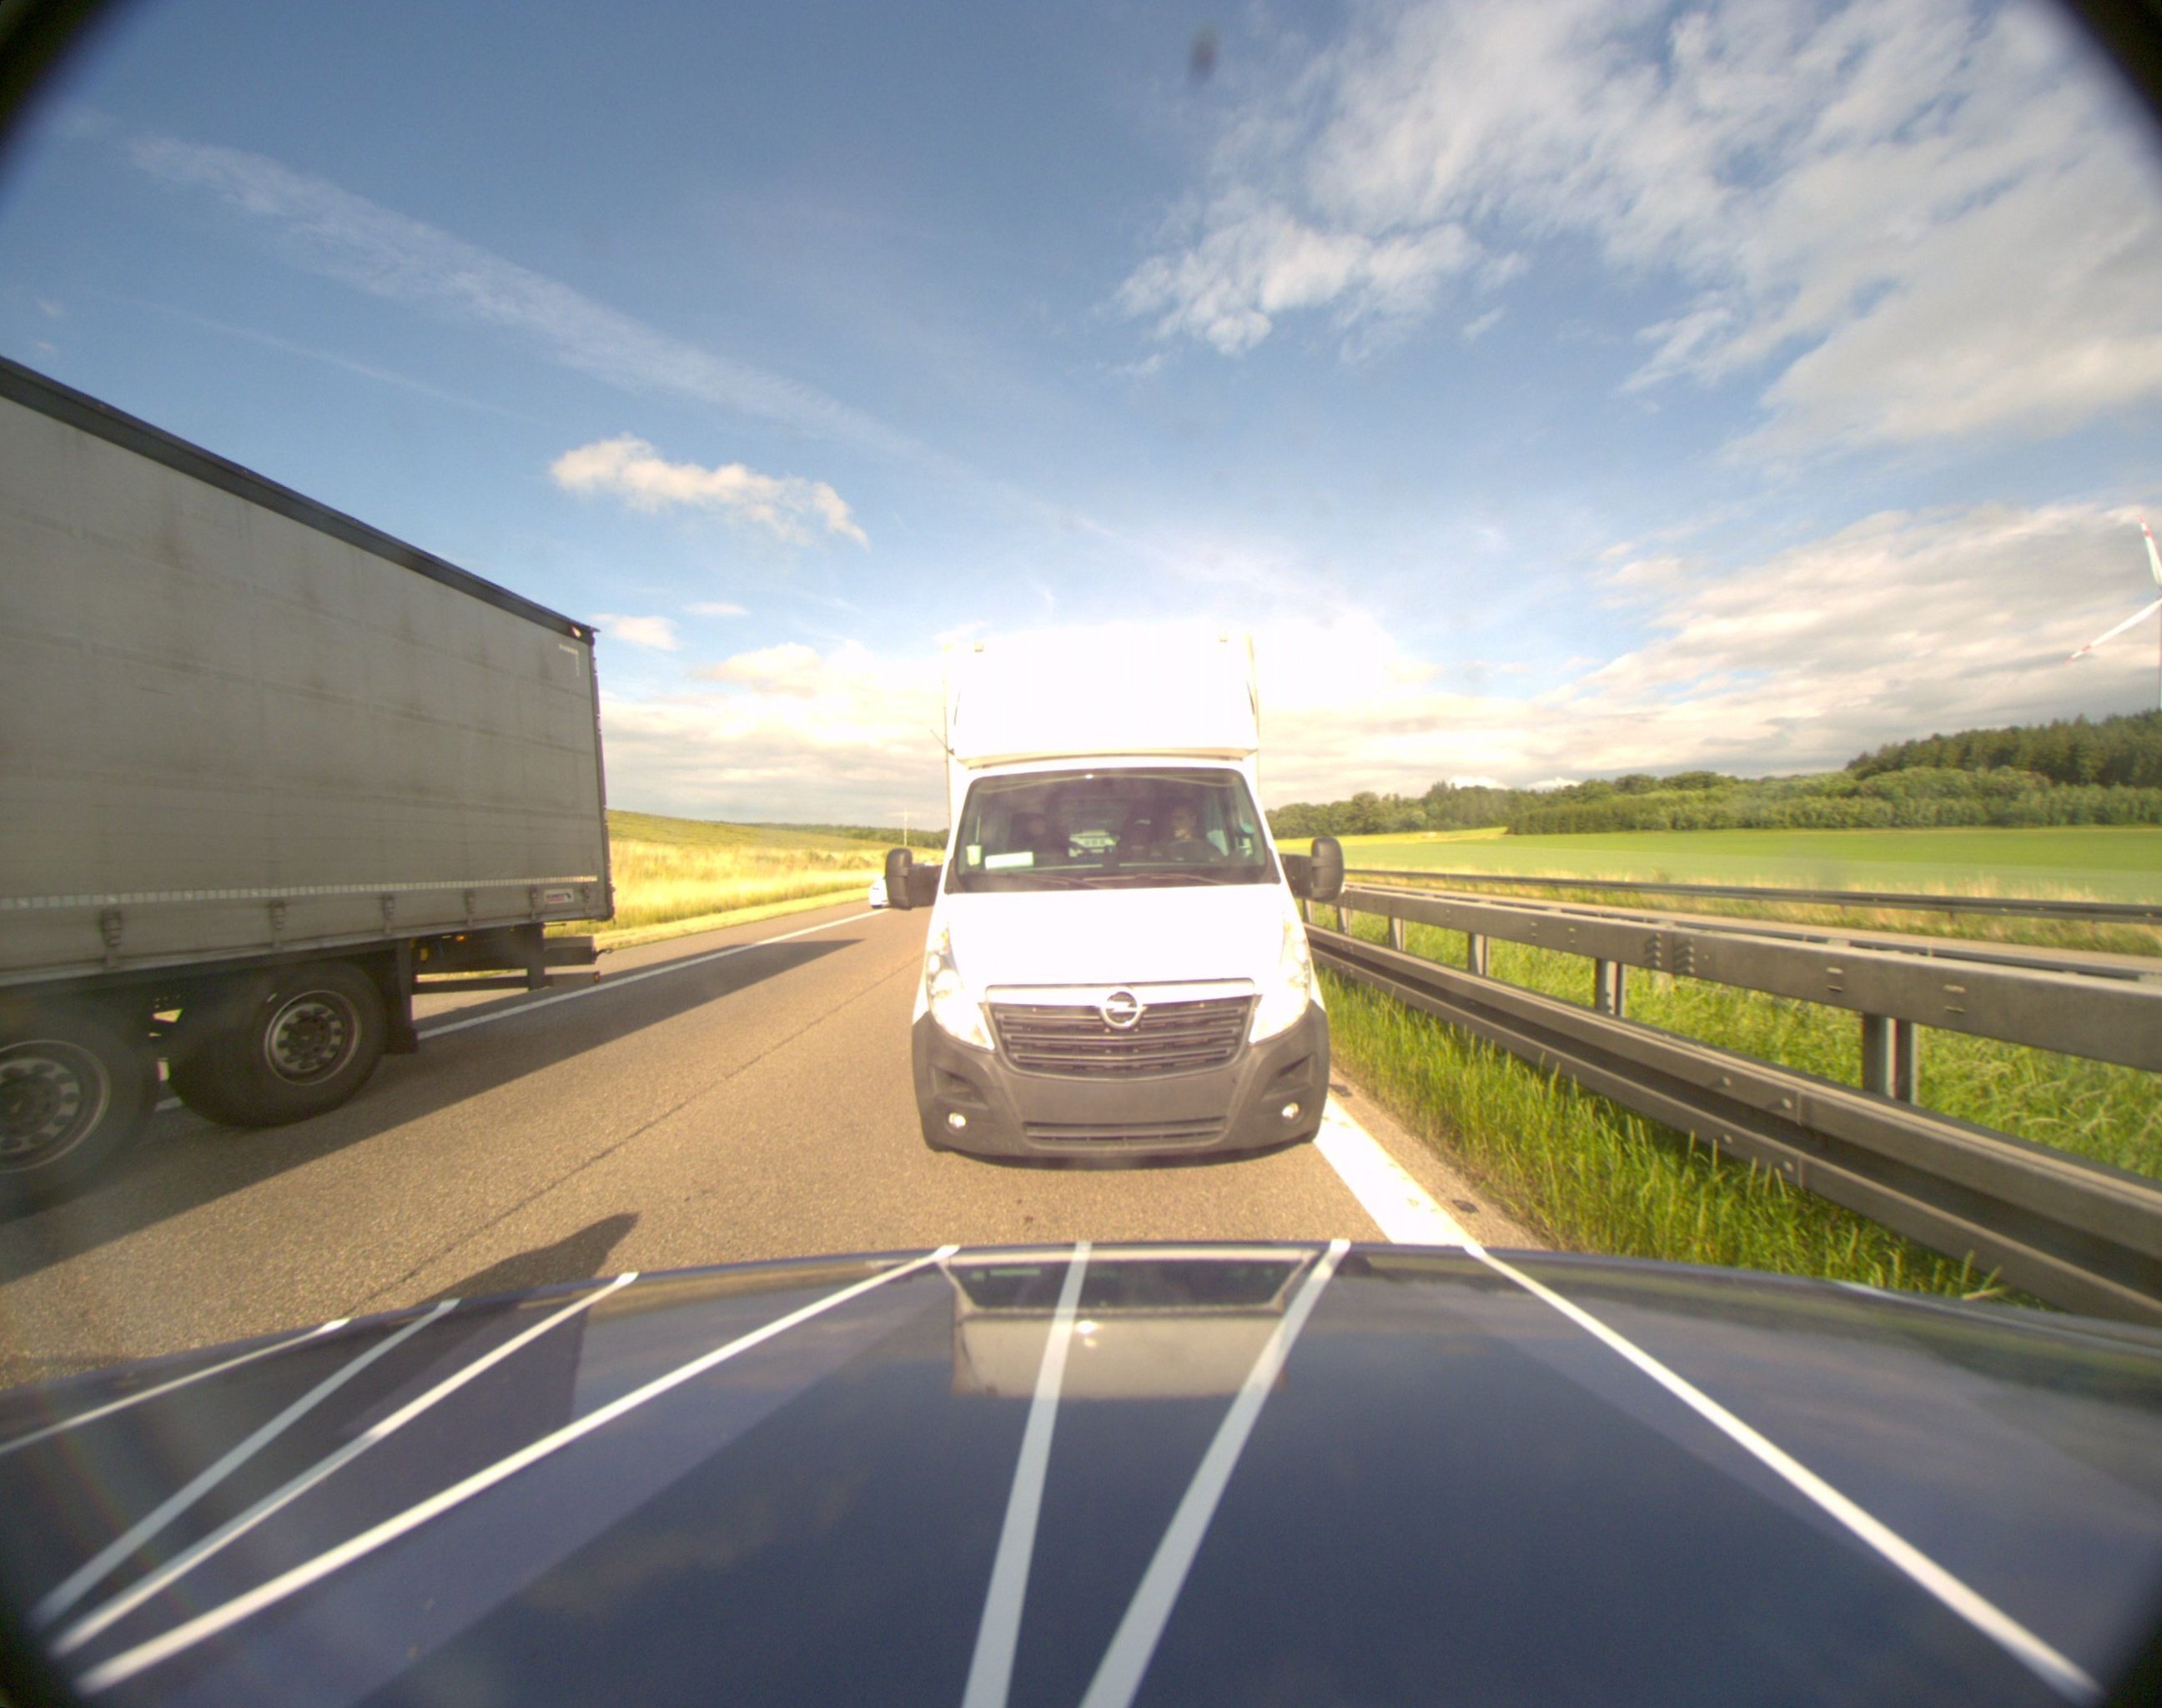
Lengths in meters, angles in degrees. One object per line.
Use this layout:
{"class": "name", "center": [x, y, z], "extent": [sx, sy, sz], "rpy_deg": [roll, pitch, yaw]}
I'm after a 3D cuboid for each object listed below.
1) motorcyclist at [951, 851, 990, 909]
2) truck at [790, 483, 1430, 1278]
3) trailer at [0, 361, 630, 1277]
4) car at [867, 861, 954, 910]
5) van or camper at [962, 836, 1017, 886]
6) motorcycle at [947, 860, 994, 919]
{"class": "motorcyclist", "center": [-3.006, 0.699, 20.829], "extent": [0.898, 1.520, 0.863], "rpy_deg": [-1, 1, 0]}
{"class": "truck", "center": [0.110, 0.120, 8.641], "extent": [2.502, 3.141, 11.162], "rpy_deg": [-1, 0, 0]}
{"class": "trailer", "center": [-6.045, -0.129, 1.005], "extent": [2.623, 4.017, 13.697], "rpy_deg": [-1, 0, 0]}
{"class": "car", "center": [-5.702, 1.001, 25.929], "extent": [1.871, 1.409, 4.461], "rpy_deg": [-1, 1, 1]}
{"class": "van or camper", "center": [-4.951, 0.325, 42.089], "extent": [2.102, 2.530, 6.412], "rpy_deg": [-1, 1, 1]}
{"class": "motorcycle", "center": [-3.003, 0.933, 20.814], "extent": [0.898, 1.447, 2.269], "rpy_deg": [-1, 1, 0]}
